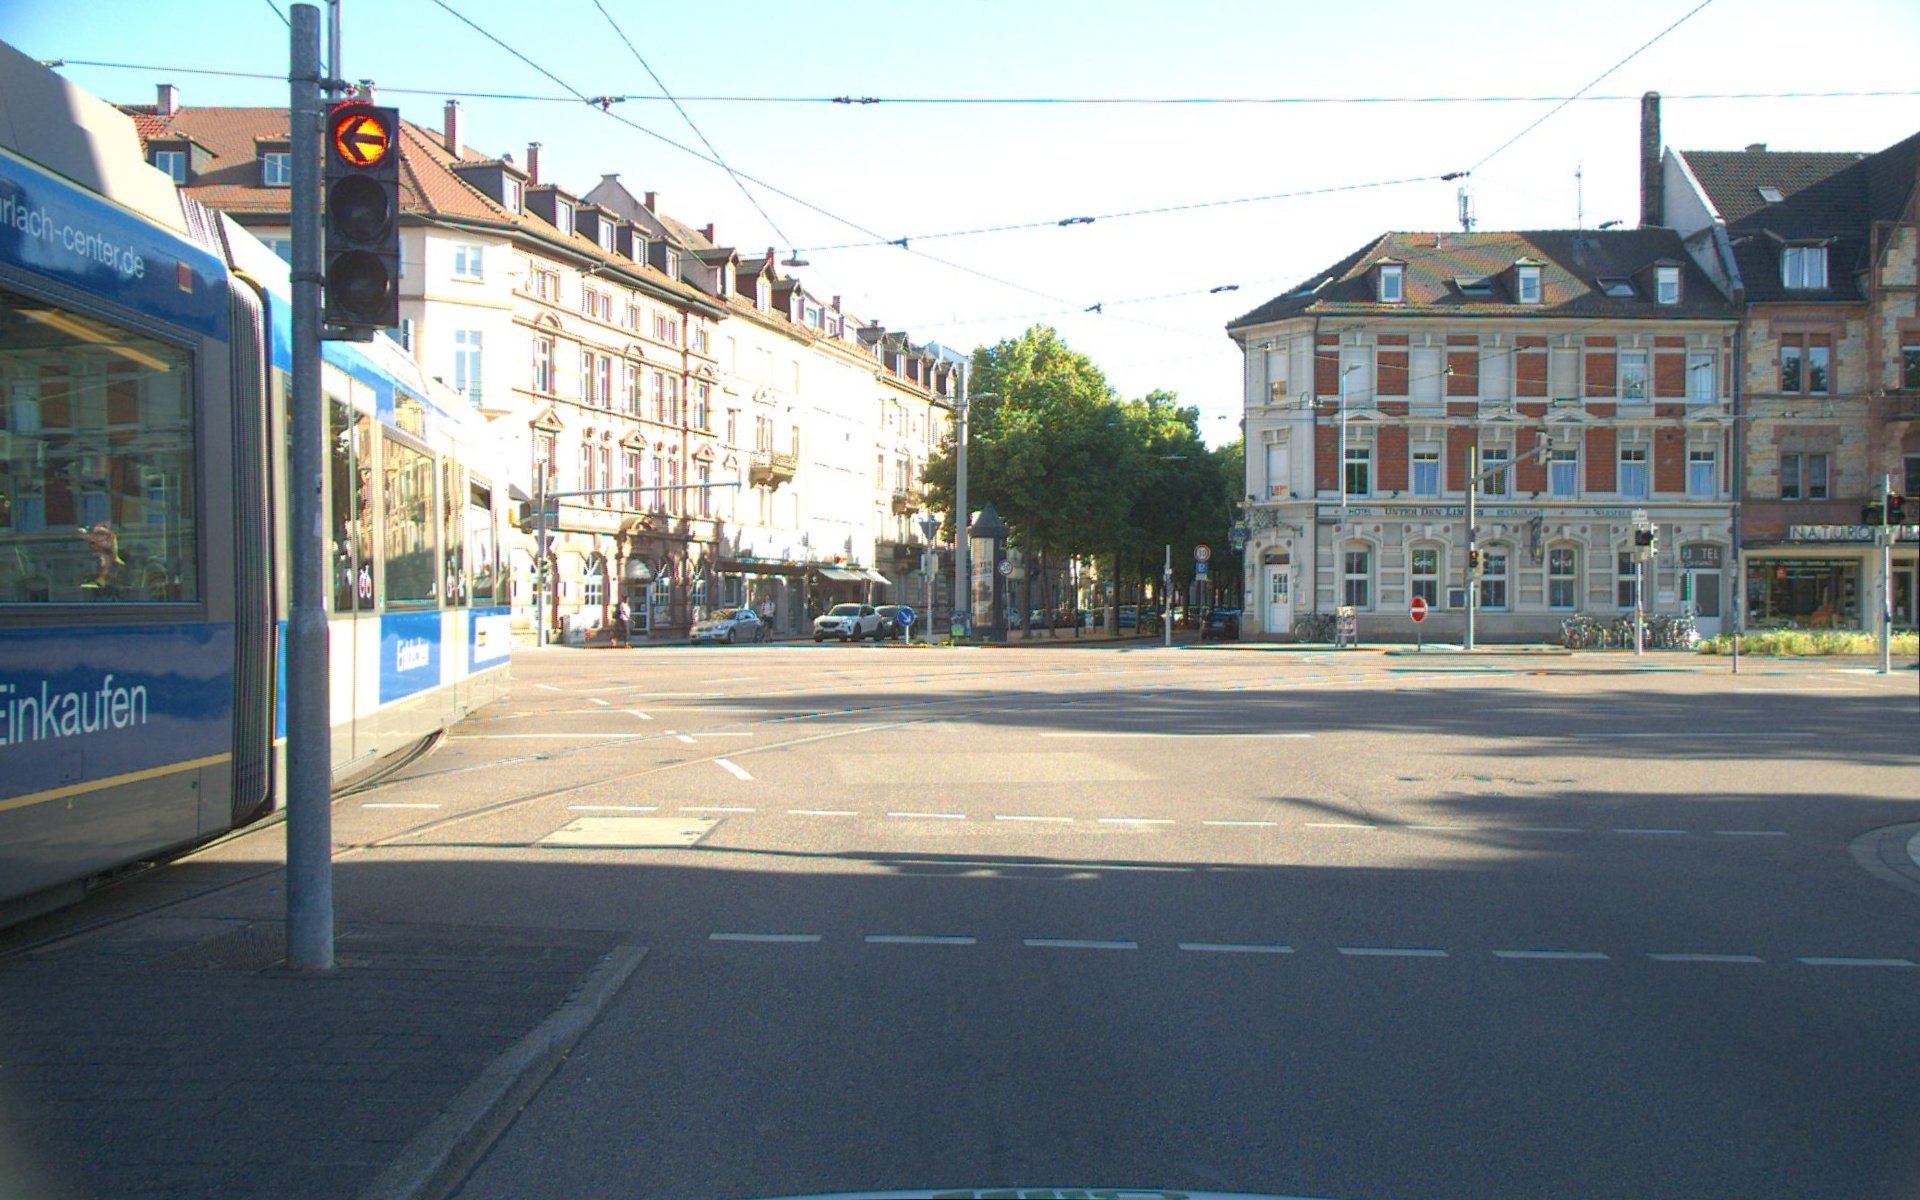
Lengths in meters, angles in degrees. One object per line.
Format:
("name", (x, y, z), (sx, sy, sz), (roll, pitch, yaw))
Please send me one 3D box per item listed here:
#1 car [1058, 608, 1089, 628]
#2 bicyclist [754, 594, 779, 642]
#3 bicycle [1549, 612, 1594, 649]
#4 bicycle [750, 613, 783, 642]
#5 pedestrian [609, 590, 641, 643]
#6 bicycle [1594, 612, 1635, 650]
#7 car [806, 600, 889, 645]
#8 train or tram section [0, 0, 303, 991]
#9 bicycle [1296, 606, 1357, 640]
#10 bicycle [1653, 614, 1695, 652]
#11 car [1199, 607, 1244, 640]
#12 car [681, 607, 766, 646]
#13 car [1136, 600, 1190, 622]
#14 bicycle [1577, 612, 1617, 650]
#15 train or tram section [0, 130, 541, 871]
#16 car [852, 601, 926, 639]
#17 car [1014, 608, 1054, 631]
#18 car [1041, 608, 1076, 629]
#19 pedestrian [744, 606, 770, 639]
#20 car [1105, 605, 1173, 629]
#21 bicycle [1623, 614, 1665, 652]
("car", (9.402, 1.451, 136.462), (1.727, 1.576, 4.394), (0, 0, 16))
("bicyclist", (-7.580, 0.692, 64.931), (0.664, 1.852, 1.071), (0, 0, 12))
("bicycle", (19.826, 0.985, 53.655), (0.789, 1.163, 2.175), (0, 0, 4))
("bicycle", (-7.591, 1.079, 64.889), (0.665, 1.085, 2.127), (0, 0, 12))
("pedestrian", (-11.276, 0.537, 55.653), (1.029, 1.774, 0.805), (0, 0, -16))
("bicycle", (21.169, 0.990, 53.507), (0.605, 1.163, 2.175), (0, 0, 4))
("car", (-4.537, 0.881, 67.252), (1.951, 1.713, 4.393), (0, 0, 17))
("train or tram section", (-4.603, -0.448, 3.993), (2.757, 3.561, 8.460), (0, 0, -1))
("bicycle", (12.756, 0.815, 57.581), (2.045, 1.144, 0.366), (1, -1, -5))
("bicycle", (23.041, 1.055, 53.395), (0.596, 1.156, 2.136), (0, 0, 4))
("car", (13.076, 1.154, 82.632), (1.951, 1.612, 4.003), (0, 0, 13))
("car", (-9.521, 1.033, 66.899), (1.858, 1.481, 4.002), (0, 0, 17))
("car", (16.427, 0.874, 133.870), (3.912, 1.736, 1.996), (0, 0, 30))
("bicycle", (20.597, 0.995, 53.537), (0.605, 1.163, 2.175), (0, 0, 4))
("train or tram section", (-5.566, -0.515, 13.867), (2.718, 3.561, 12.007), (0, 0, -8))
("car", (-3.143, 0.858, 73.787), (1.951, 1.640, 4.393), (0, 0, 17))
("car", (5.535, 1.416, 122.737), (1.951, 1.640, 4.393), (0, 0, 17))
("car", (7.789, 1.413, 130.561), (1.798, 1.579, 4.393), (0, 0, 16))
("pedestrian", (-9.616, 1.062, 78.401), (0.908, 1.562, 1.138), (0, 0, 13))
("car", (12.513, 1.190, 115.608), (4.290, 1.640, 1.998), (0, 0, 26))
("bicycle", (22.077, 1.052, 53.447), (0.605, 1.163, 2.175), (0, 0, 4))
